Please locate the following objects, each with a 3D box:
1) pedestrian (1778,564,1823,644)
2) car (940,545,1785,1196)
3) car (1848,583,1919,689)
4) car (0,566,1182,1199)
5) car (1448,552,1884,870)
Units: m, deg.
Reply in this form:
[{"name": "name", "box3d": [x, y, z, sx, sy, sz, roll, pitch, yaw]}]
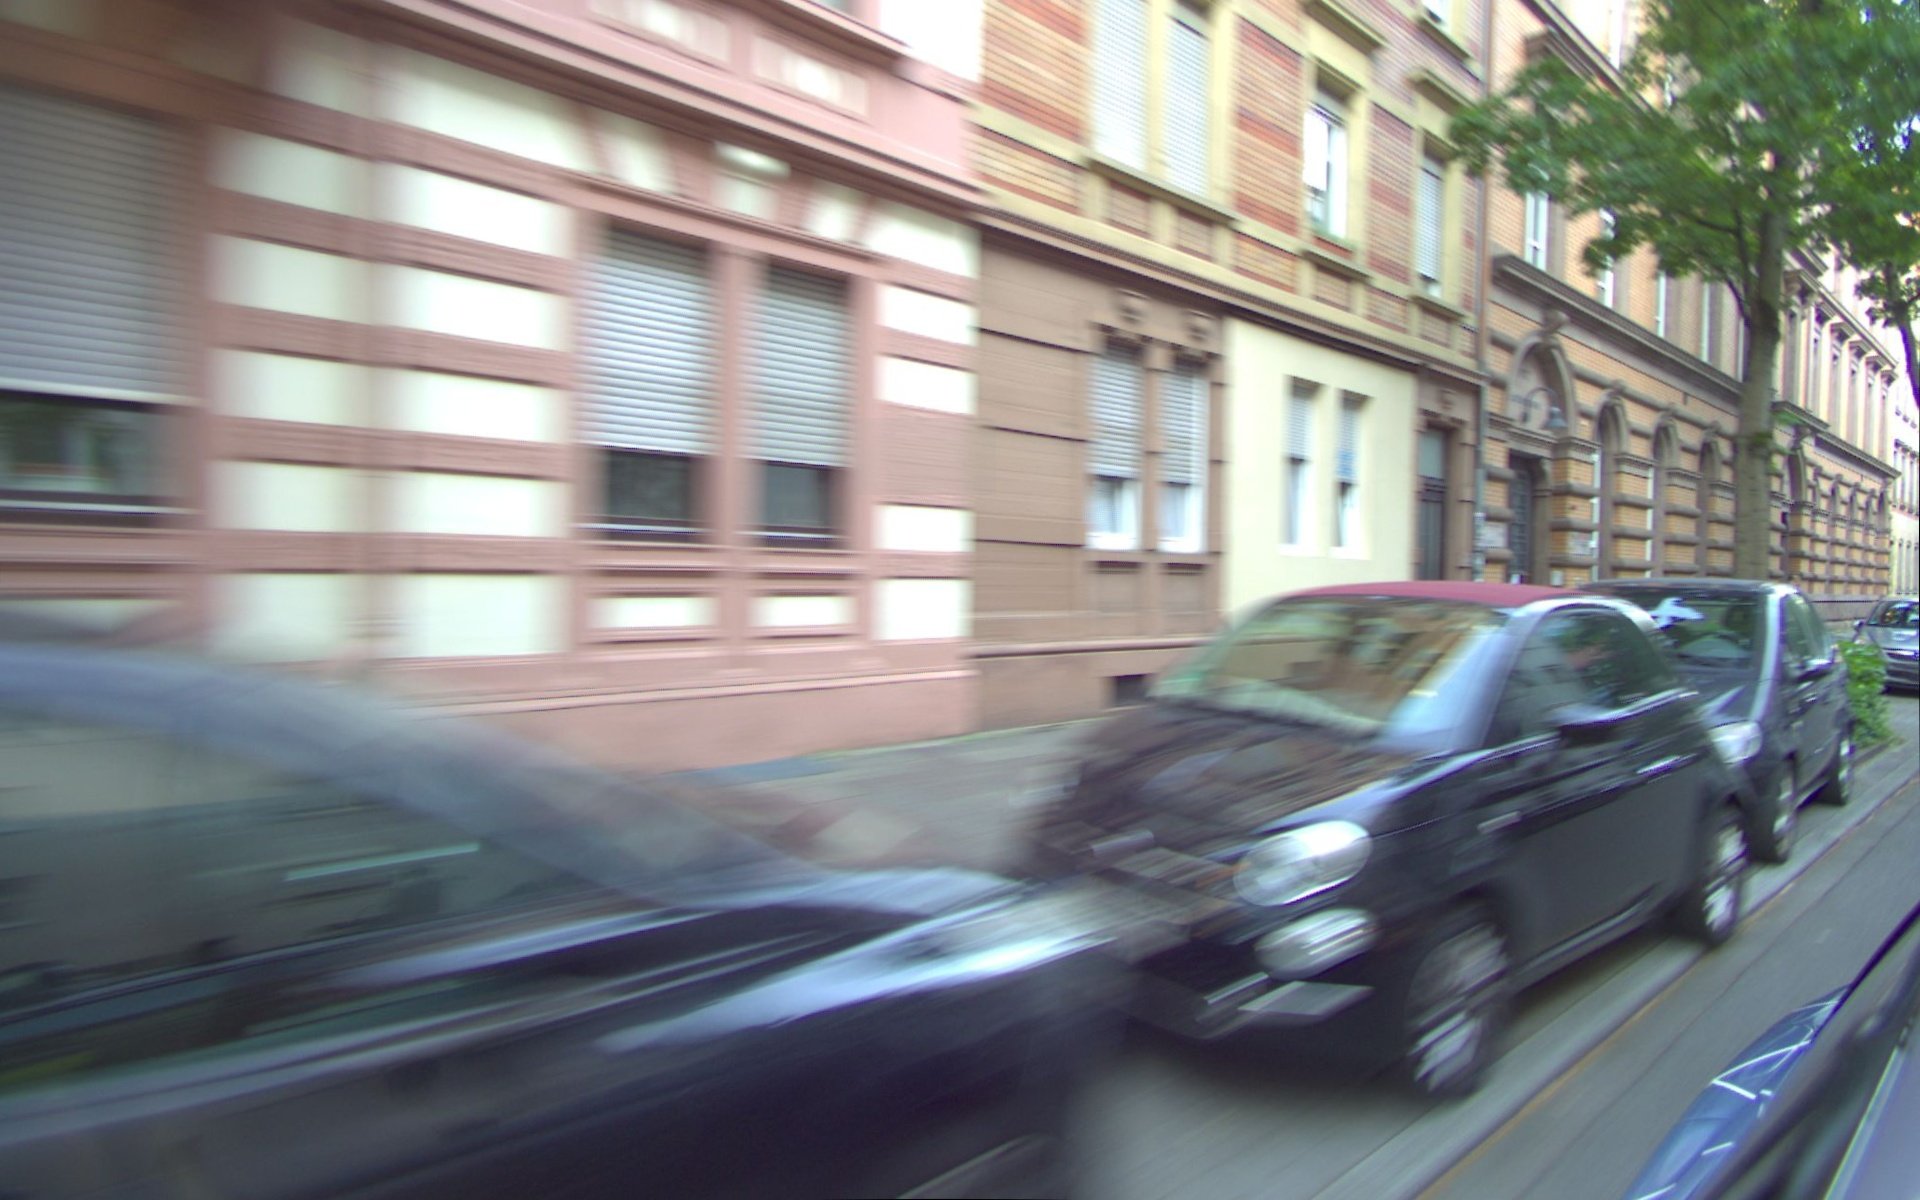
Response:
[{"name": "pedestrian", "box3d": [17.874, 0.073, 21.524, 0.522, 1.669, 0.628, 0, 1, -39]}, {"name": "car", "box3d": [1.803, 0.604, 4.058, 3.544, 1.515, 1.555, 0, 1, -38]}, {"name": "car", "box3d": [15.368, 0.529, 15.871, 3.932, 1.500, 1.700, 0, 4, -43]}, {"name": "car", "box3d": [-1.523, 0.672, 1.311, 3.750, 1.421, 1.717, -1, 2, -43]}, {"name": "car", "box3d": [4.940, 0.516, 6.891, 3.702, 1.578, 1.614, 0, 2, -42]}]
